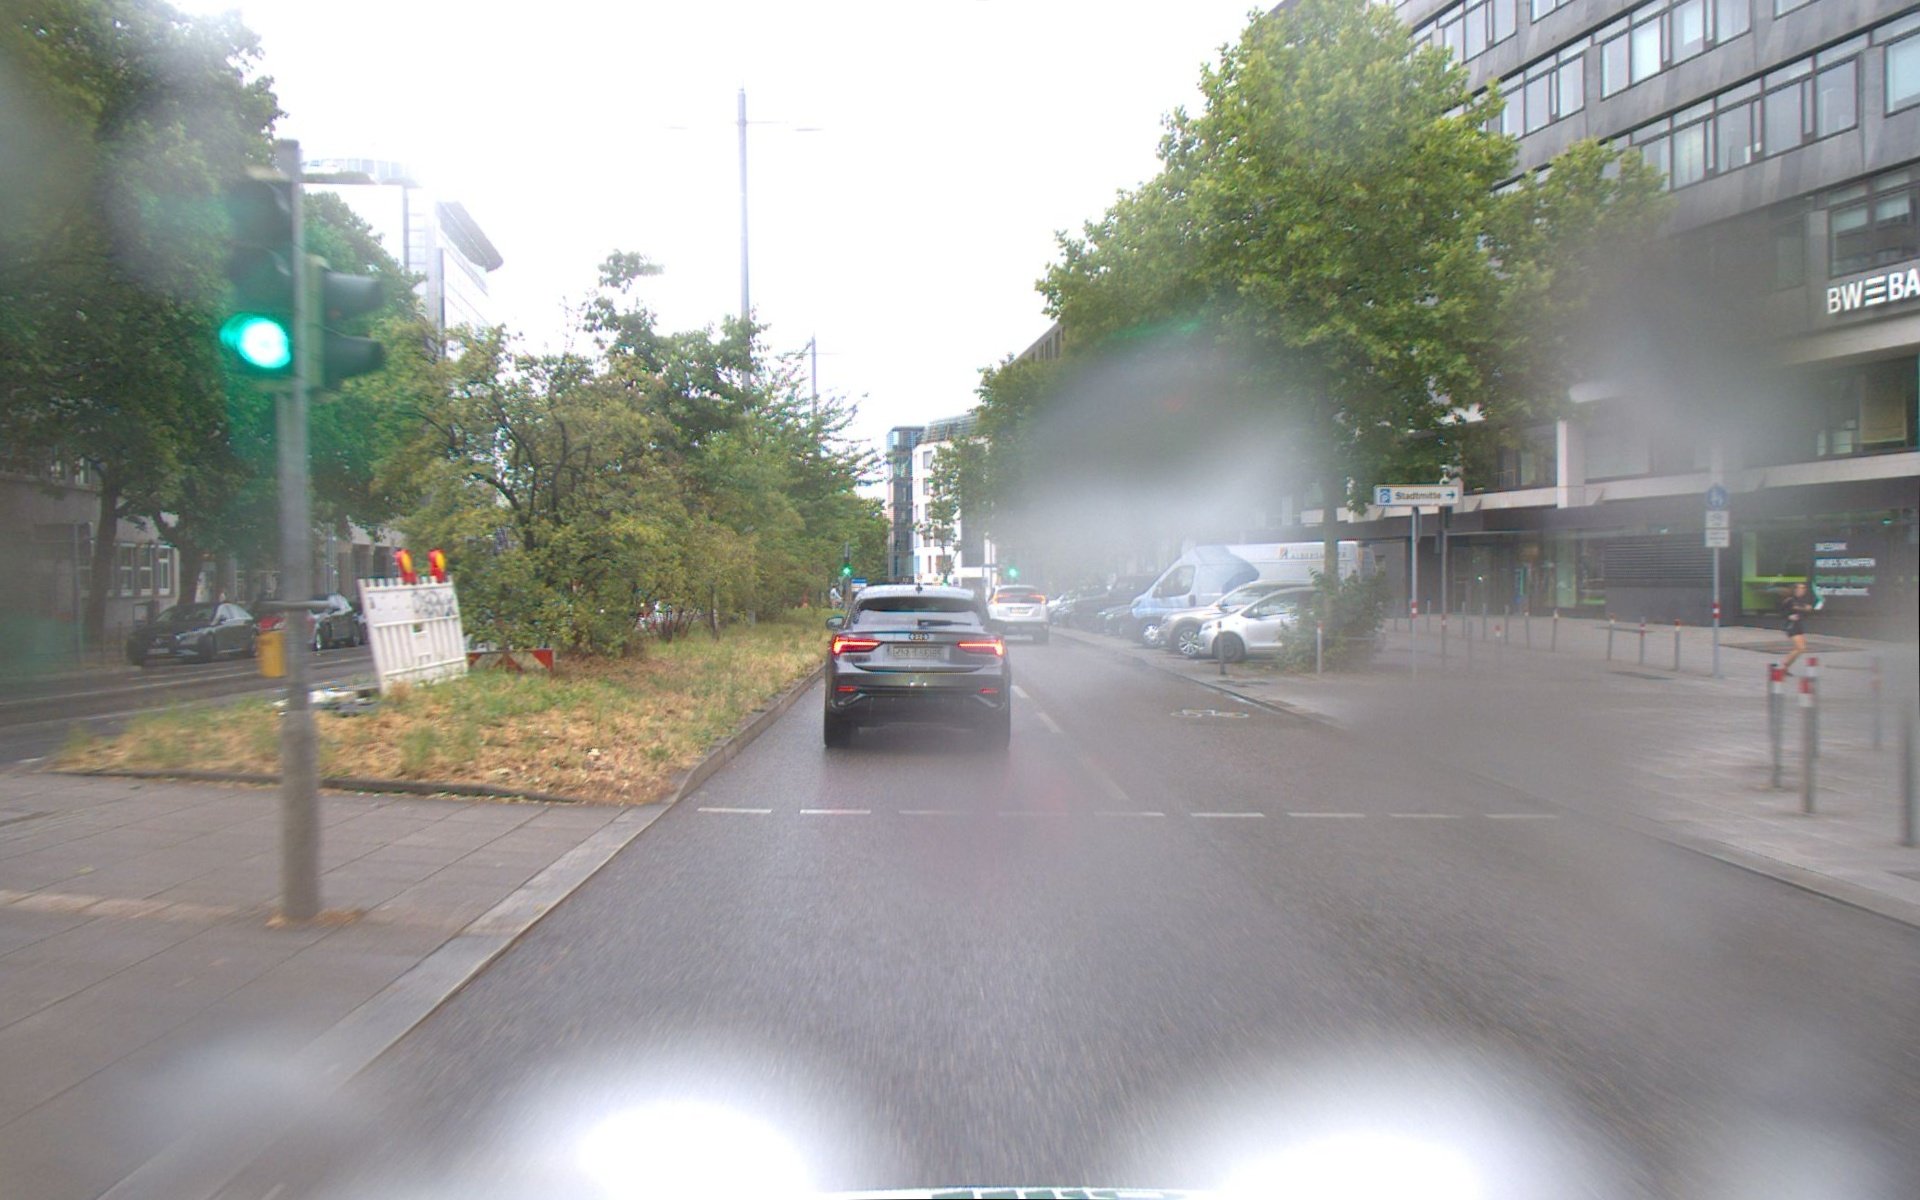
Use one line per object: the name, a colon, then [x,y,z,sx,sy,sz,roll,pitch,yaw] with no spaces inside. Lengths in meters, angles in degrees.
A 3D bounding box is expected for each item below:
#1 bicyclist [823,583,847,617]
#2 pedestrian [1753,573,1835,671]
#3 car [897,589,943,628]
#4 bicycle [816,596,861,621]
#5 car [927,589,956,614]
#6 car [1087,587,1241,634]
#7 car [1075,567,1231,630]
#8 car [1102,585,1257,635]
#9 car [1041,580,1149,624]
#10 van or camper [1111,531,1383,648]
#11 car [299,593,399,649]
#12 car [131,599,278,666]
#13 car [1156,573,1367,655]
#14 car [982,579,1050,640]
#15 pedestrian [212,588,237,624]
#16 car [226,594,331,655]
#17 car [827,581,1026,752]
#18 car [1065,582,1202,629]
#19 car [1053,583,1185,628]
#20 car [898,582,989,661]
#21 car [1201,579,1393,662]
bicyclist: [-6.258,-0.016,82.817,1.082,1.650,0.750,3,-1,-2]
pedestrian: [15.004,0.381,29.775,0.790,1.726,1.185,1,0,-8]
car: [-1.594,0.345,67.599,1.812,1.550,4.038,0,0,-1]
bicycle: [-6.074,0.422,82.814,2.209,1.182,0.750,2,-1,-2]
car: [-1.180,0.114,104.216,1.812,1.550,4.038,0,0,-1]
car: [6.522,0.347,52.872,4.533,1.419,1.845,-1,-1,28]
car: [6.496,-0.041,55.709,4.838,2.013,1.928,-1,0,25]
car: [6.594,0.303,49.723,4.278,1.461,1.760,0,0,25]
car: [5.650,0.087,69.326,4.134,1.698,1.837,-1,0,26]
van or camper: [6.723,-0.221,38.920,5.946,2.603,2.103,0,0,26]
car: [-20.177,0.650,54.848,1.733,1.681,4.839,-3,0,-4]
car: [-18.910,0.769,41.618,1.733,1.459,4.668,-3,0,-4]
car: [6.501,0.272,35.730,4.172,1.696,1.817,0,0,25]
car: [1.596,0.274,48.365,1.812,1.698,4.038,0,0,-1]
pedestrian: [-35.486,0.286,79.799,0.977,1.674,0.674,-1,0,-15]
car: [-19.215,0.660,46.811,1.654,1.546,3.622,-3,0,-5]
car: [-0.358,0.604,17.104,1.812,1.550,4.037,0,0,-2]
car: [6.152,0.199,58.612,4.462,1.533,1.869,-1,0,23]
car: [5.928,0.190,61.521,4.672,1.560,1.871,-1,0,13]
car: [-0.349,0.428,34.724,1.812,1.550,4.038,0,0,-1]
car: [6.726,0.382,32.970,3.572,1.574,1.715,0,0,18]
